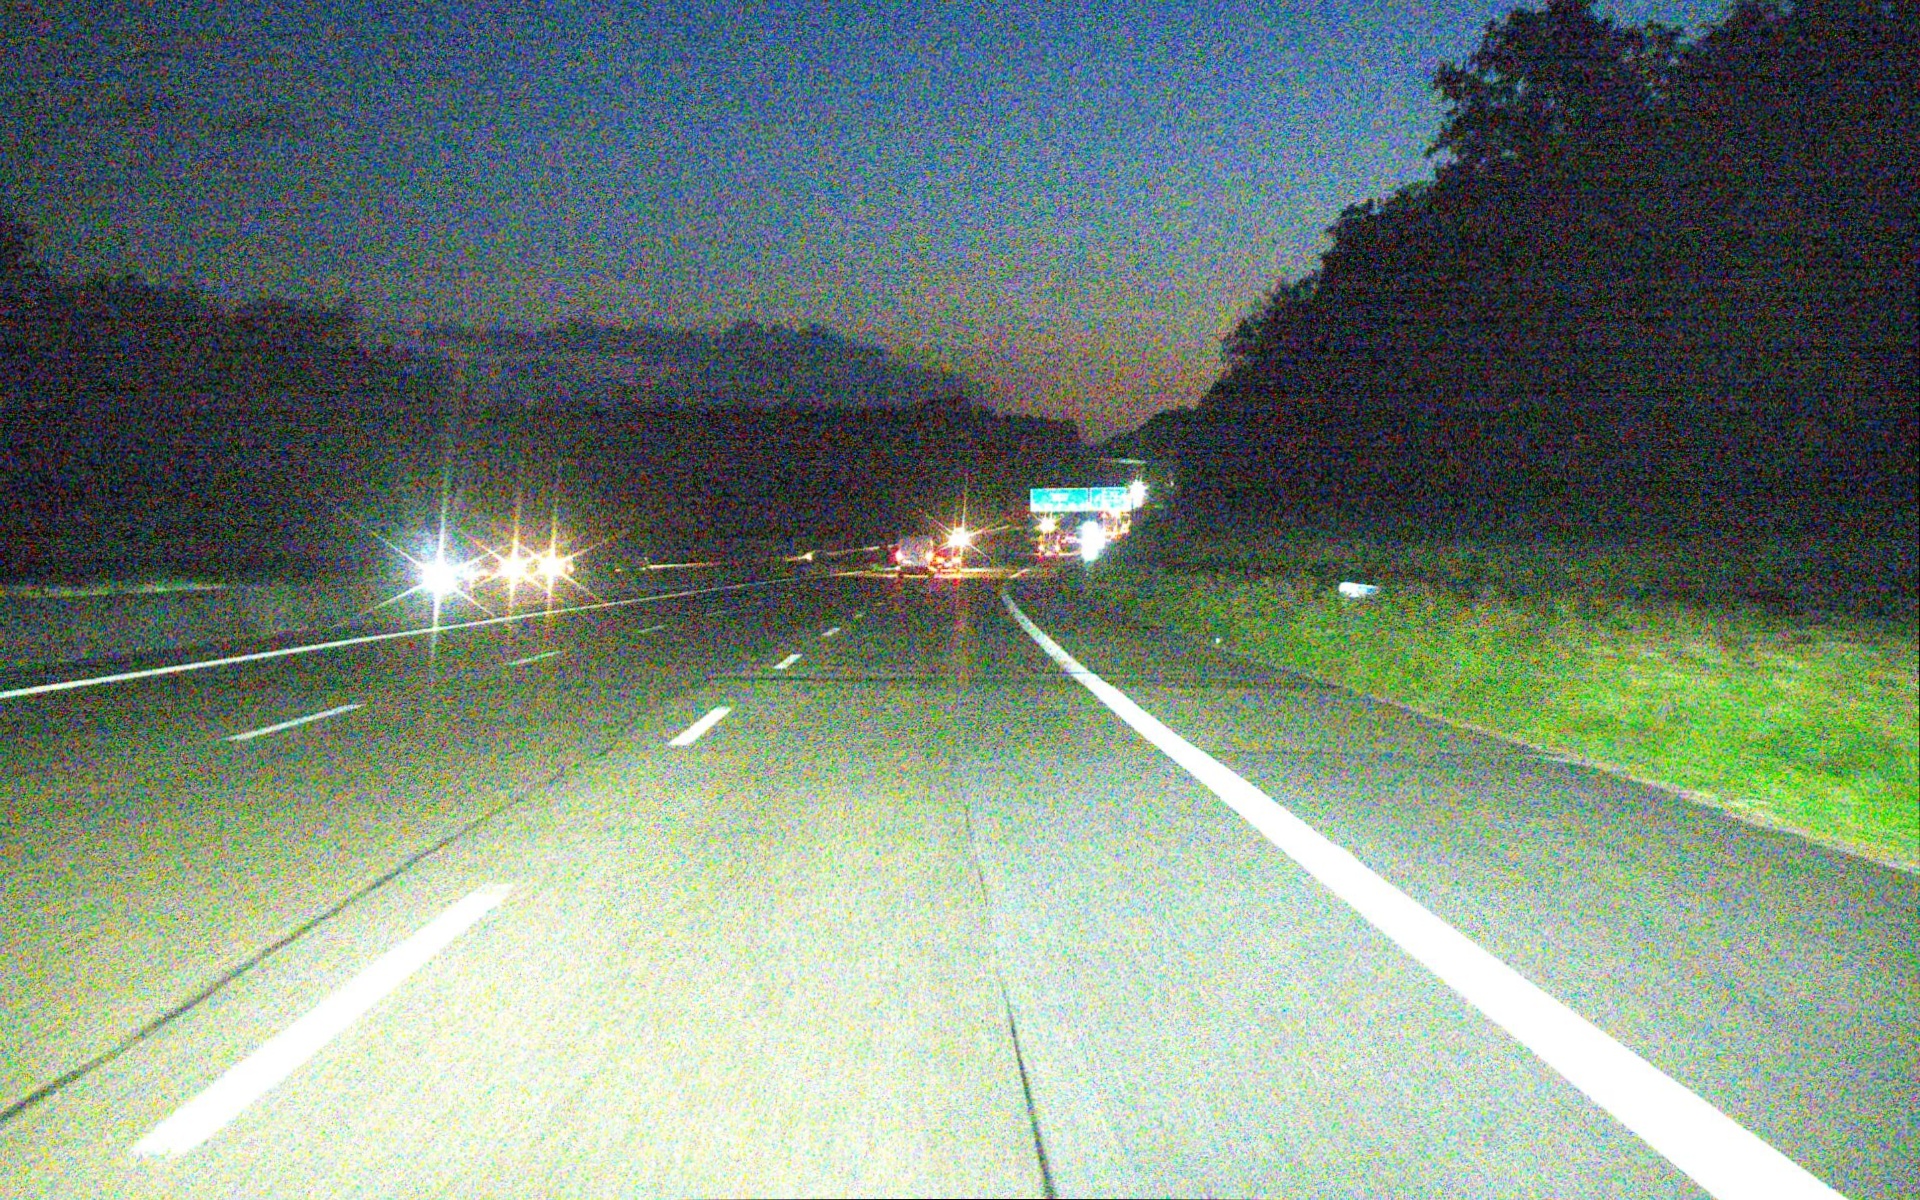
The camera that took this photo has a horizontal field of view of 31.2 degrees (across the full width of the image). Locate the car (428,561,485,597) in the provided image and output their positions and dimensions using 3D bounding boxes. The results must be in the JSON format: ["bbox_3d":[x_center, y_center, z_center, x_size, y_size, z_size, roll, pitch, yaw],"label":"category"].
[{"bbox_3d":[-23.246,-0.972,158.838,2.051,1.593,5.078,0,1,-2],"label":"car"}]

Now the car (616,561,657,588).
[{"bbox_3d":[-18.429,-1.452,195.884,1.861,1.492,4.705,0,1,0],"label":"car"}]

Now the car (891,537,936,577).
[{"bbox_3d":[-2.714,-2.507,201.954,2.511,2.306,4.970,0,1,1],"label":"car"}]
